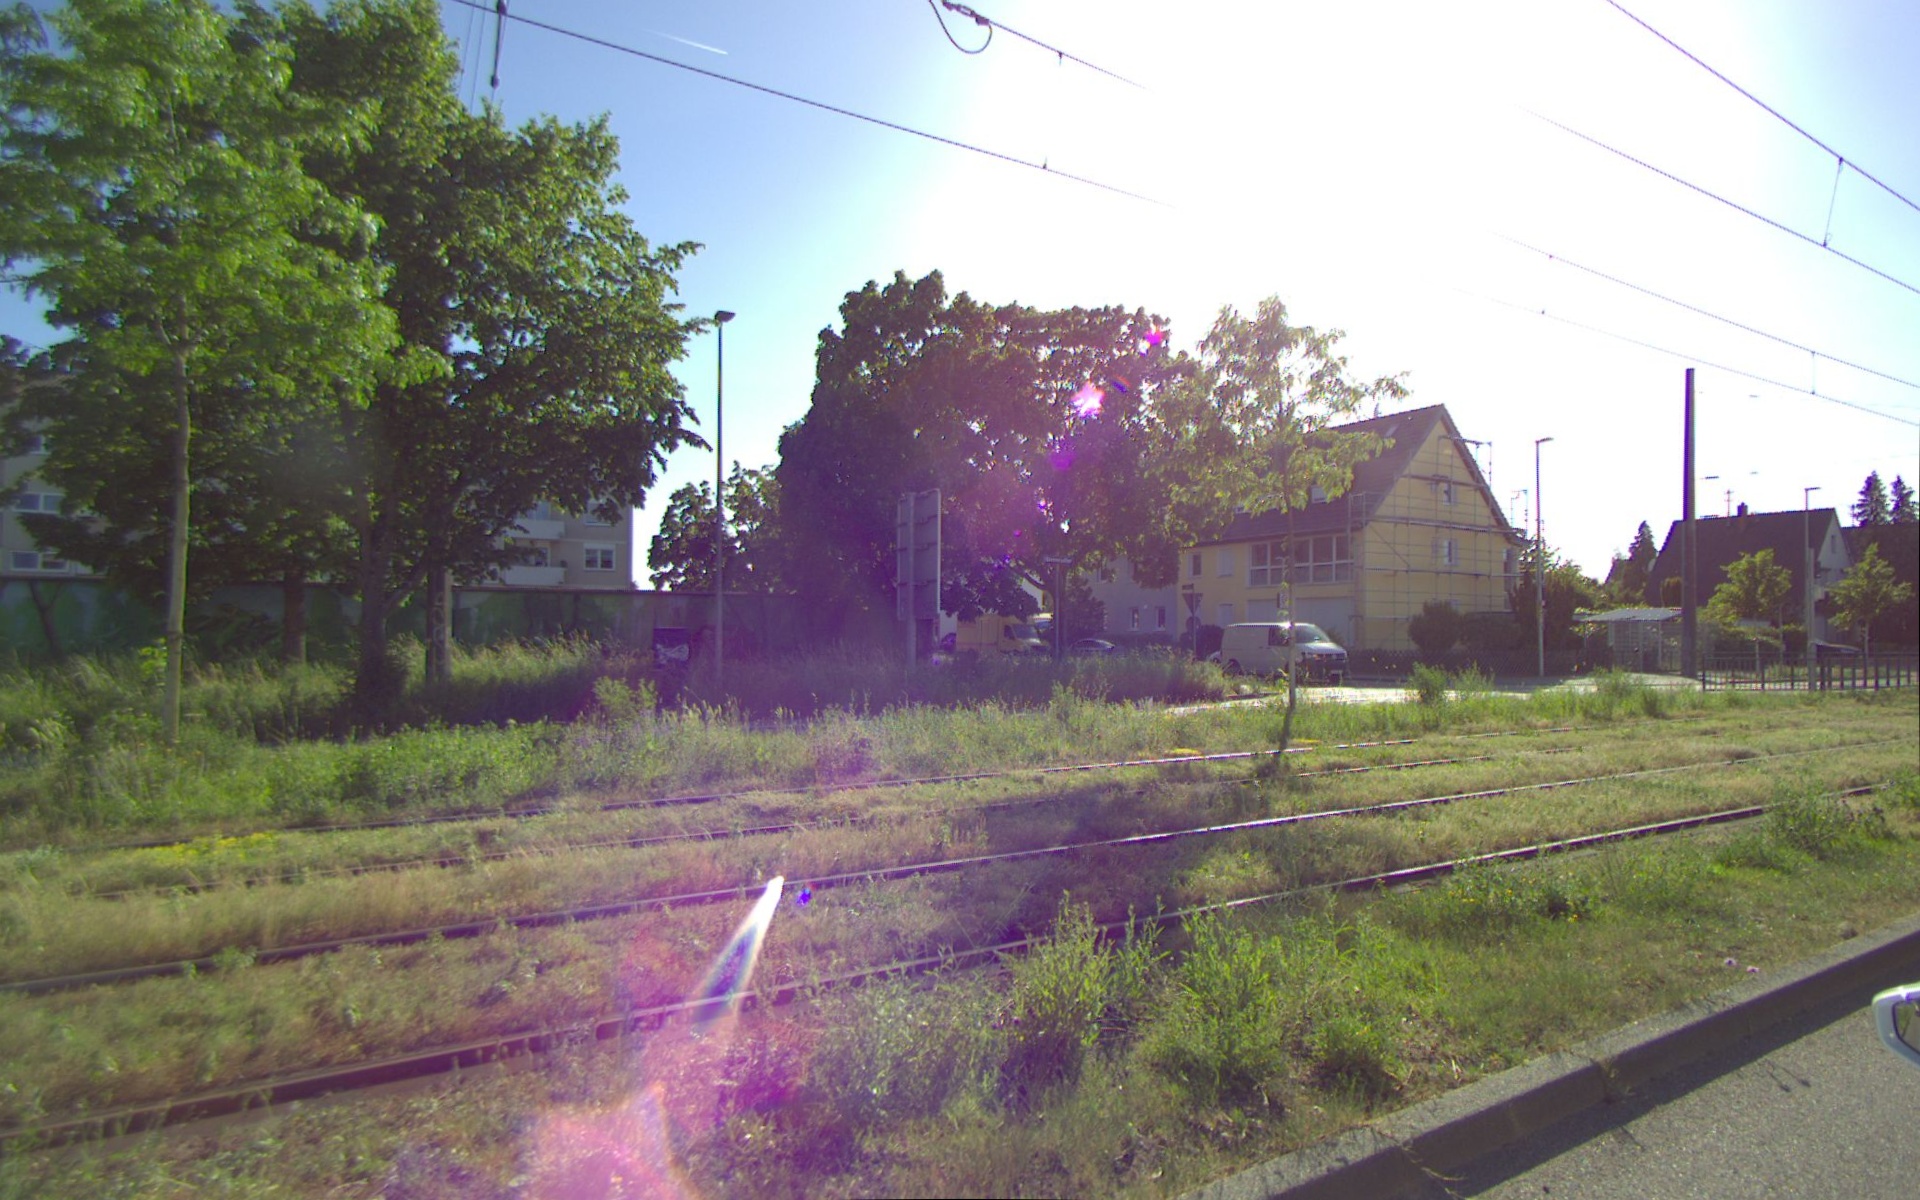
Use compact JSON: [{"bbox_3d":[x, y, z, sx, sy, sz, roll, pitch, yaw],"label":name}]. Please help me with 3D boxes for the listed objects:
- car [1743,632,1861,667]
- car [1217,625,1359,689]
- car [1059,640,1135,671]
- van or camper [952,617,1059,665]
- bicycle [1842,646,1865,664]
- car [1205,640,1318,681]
[{"bbox_3d":[44.130,2.550,52.735,2.037,1.757,4.500,2,-3,-41],"label":"car"},{"bbox_3d":[10.784,1.834,33.385,1.877,1.940,4.675,1,-2,-24],"label":"car"},{"bbox_3d":[6.365,2.564,46.950,1.542,1.364,3.712,1,-2,-31],"label":"car"},{"bbox_3d":[2.330,2.152,54.386,2.088,2.380,7.193,1,-1,-31],"label":"van or camper"},{"bbox_3d":[48.120,2.946,54.082,1.728,0.954,0.421,1,-2,-31],"label":"bicycle"},{"bbox_3d":[11.501,2.295,38.594,1.832,1.422,3.967,4,-4,-31],"label":"car"}]
